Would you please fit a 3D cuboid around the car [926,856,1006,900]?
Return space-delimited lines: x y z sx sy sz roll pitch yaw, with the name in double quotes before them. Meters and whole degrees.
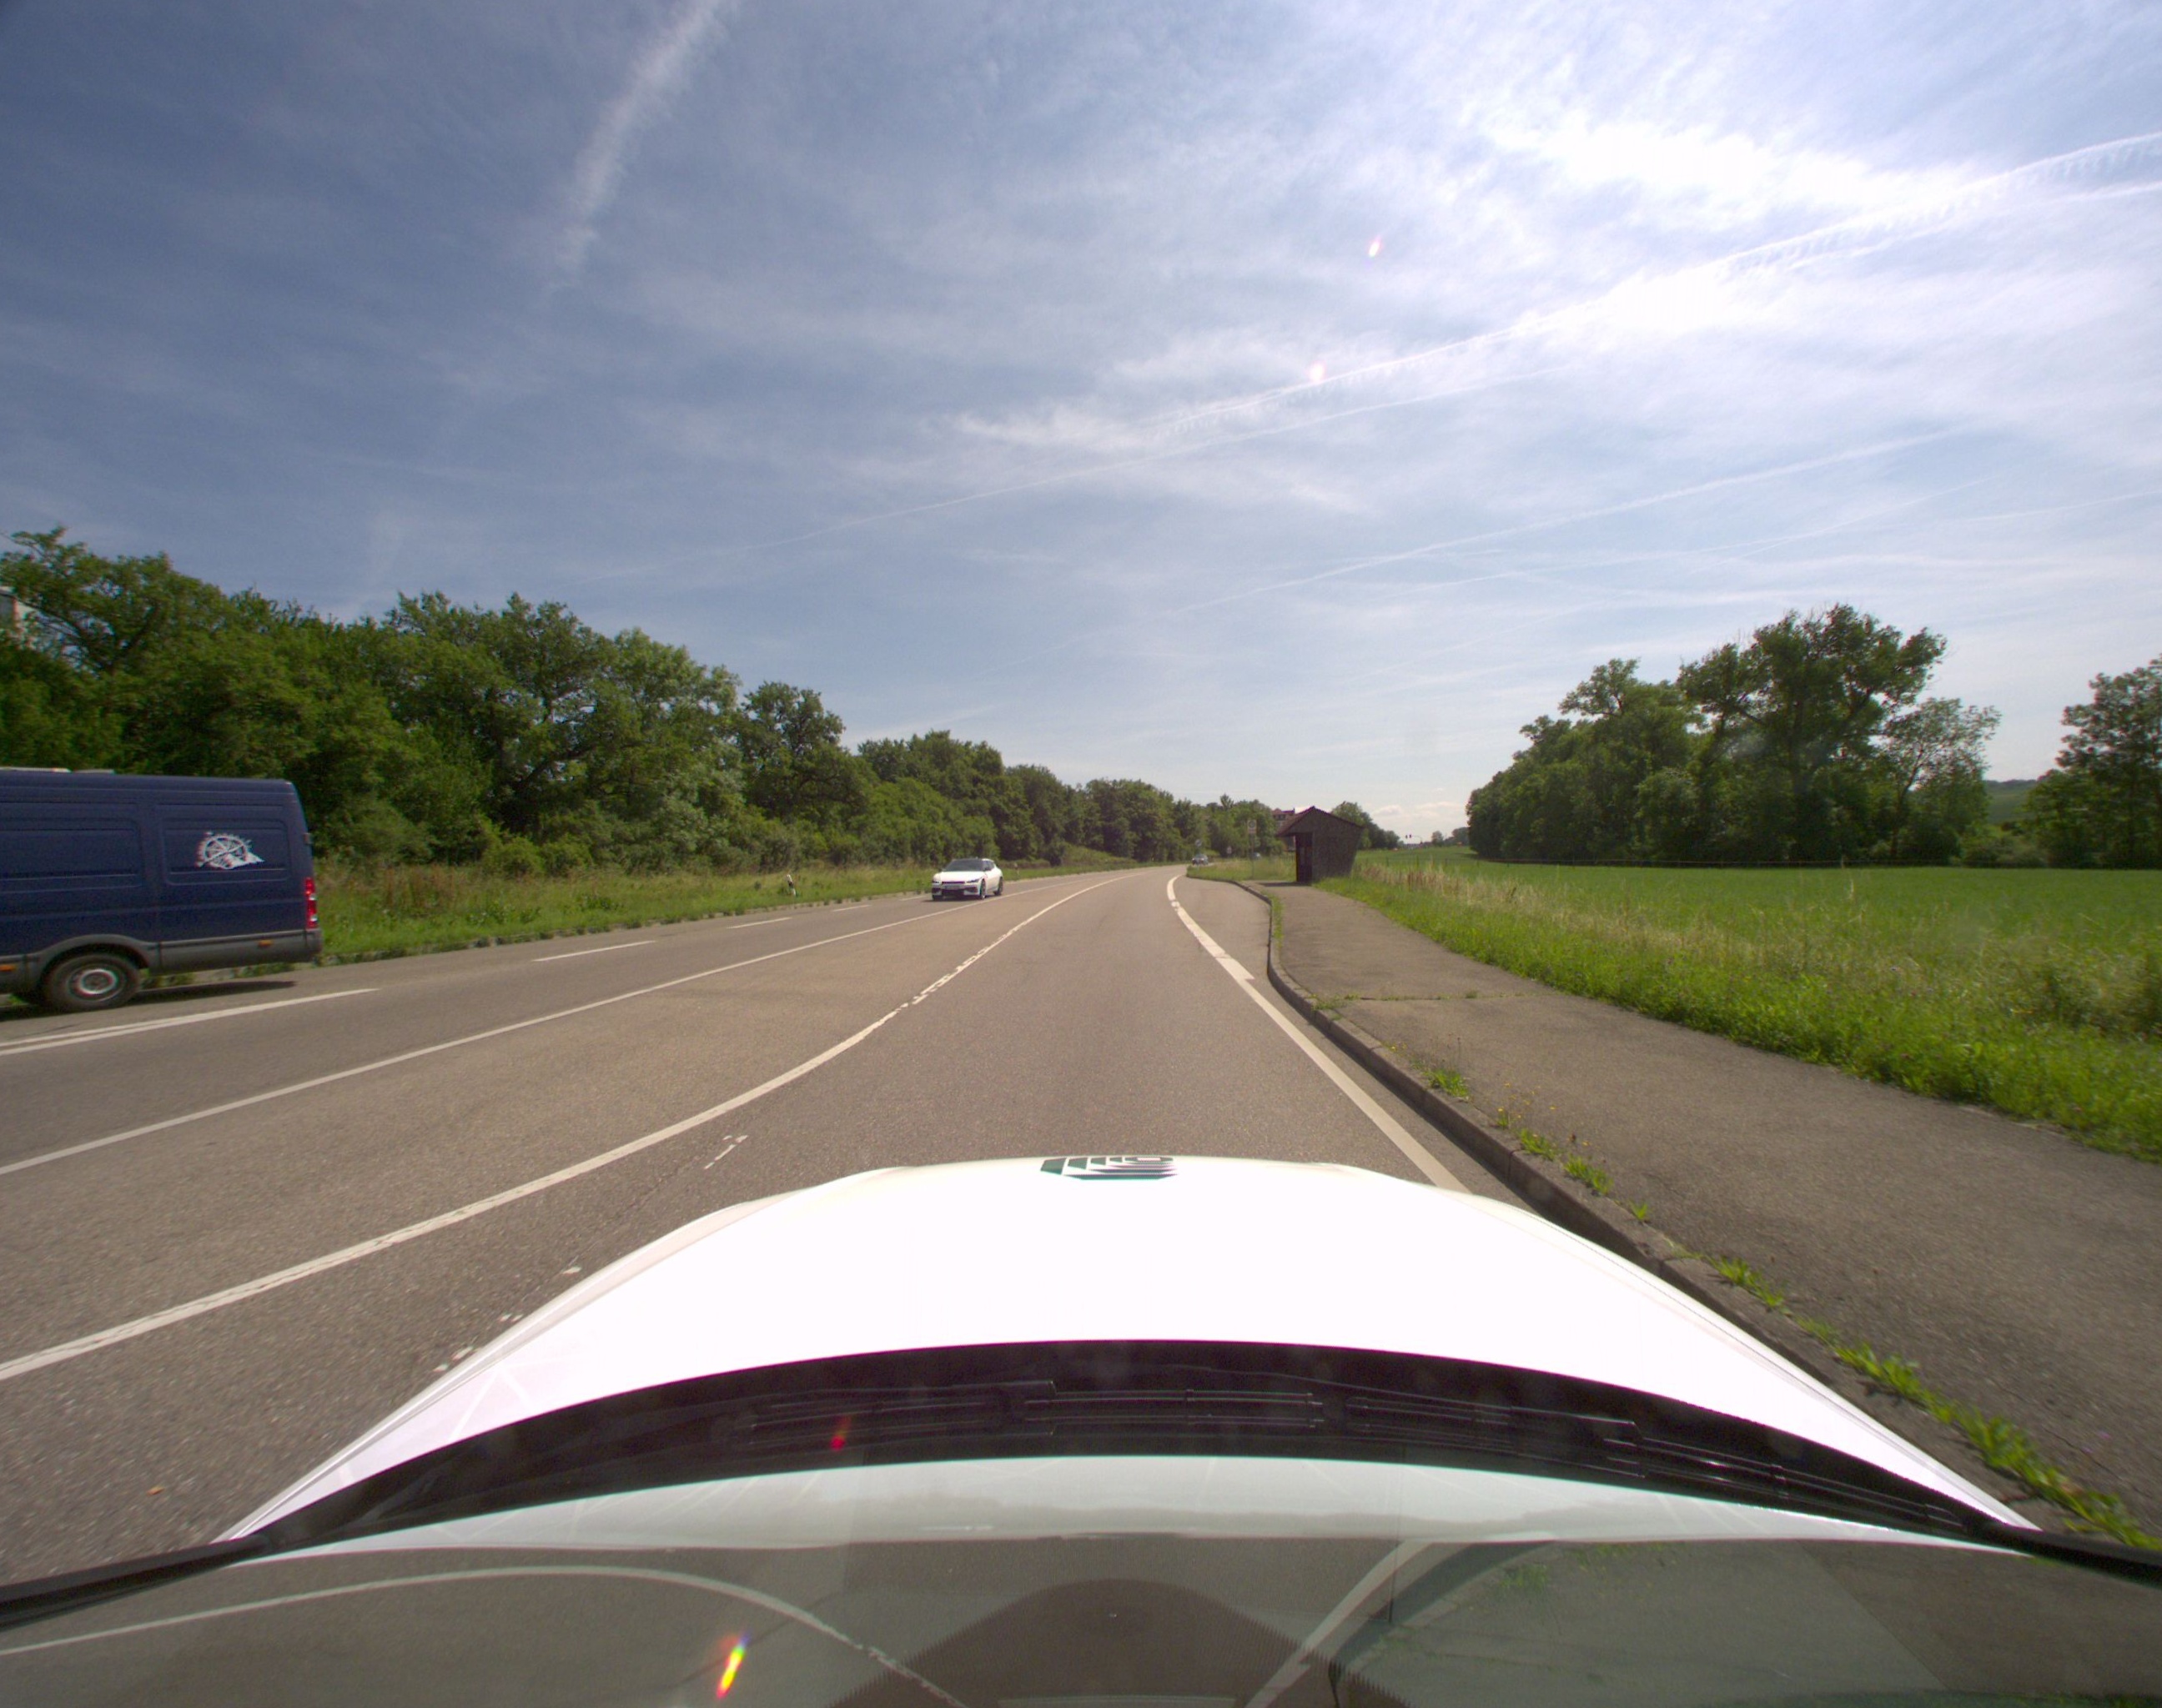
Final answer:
"car" -4.351 0.871 31.561 1.927 1.548 4.636 -1 -1 6

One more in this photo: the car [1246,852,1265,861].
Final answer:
"car" 31.822 0.521 148.815 1.974 1.574 4.025 -1 -1 35

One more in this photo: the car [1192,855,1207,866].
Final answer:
"car" 17.541 0.926 120.608 1.741 1.534 4.245 -1 -1 15

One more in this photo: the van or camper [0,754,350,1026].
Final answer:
"van or camper" -12.903 0.416 8.625 2.218 2.914 7.291 -1 1 28
